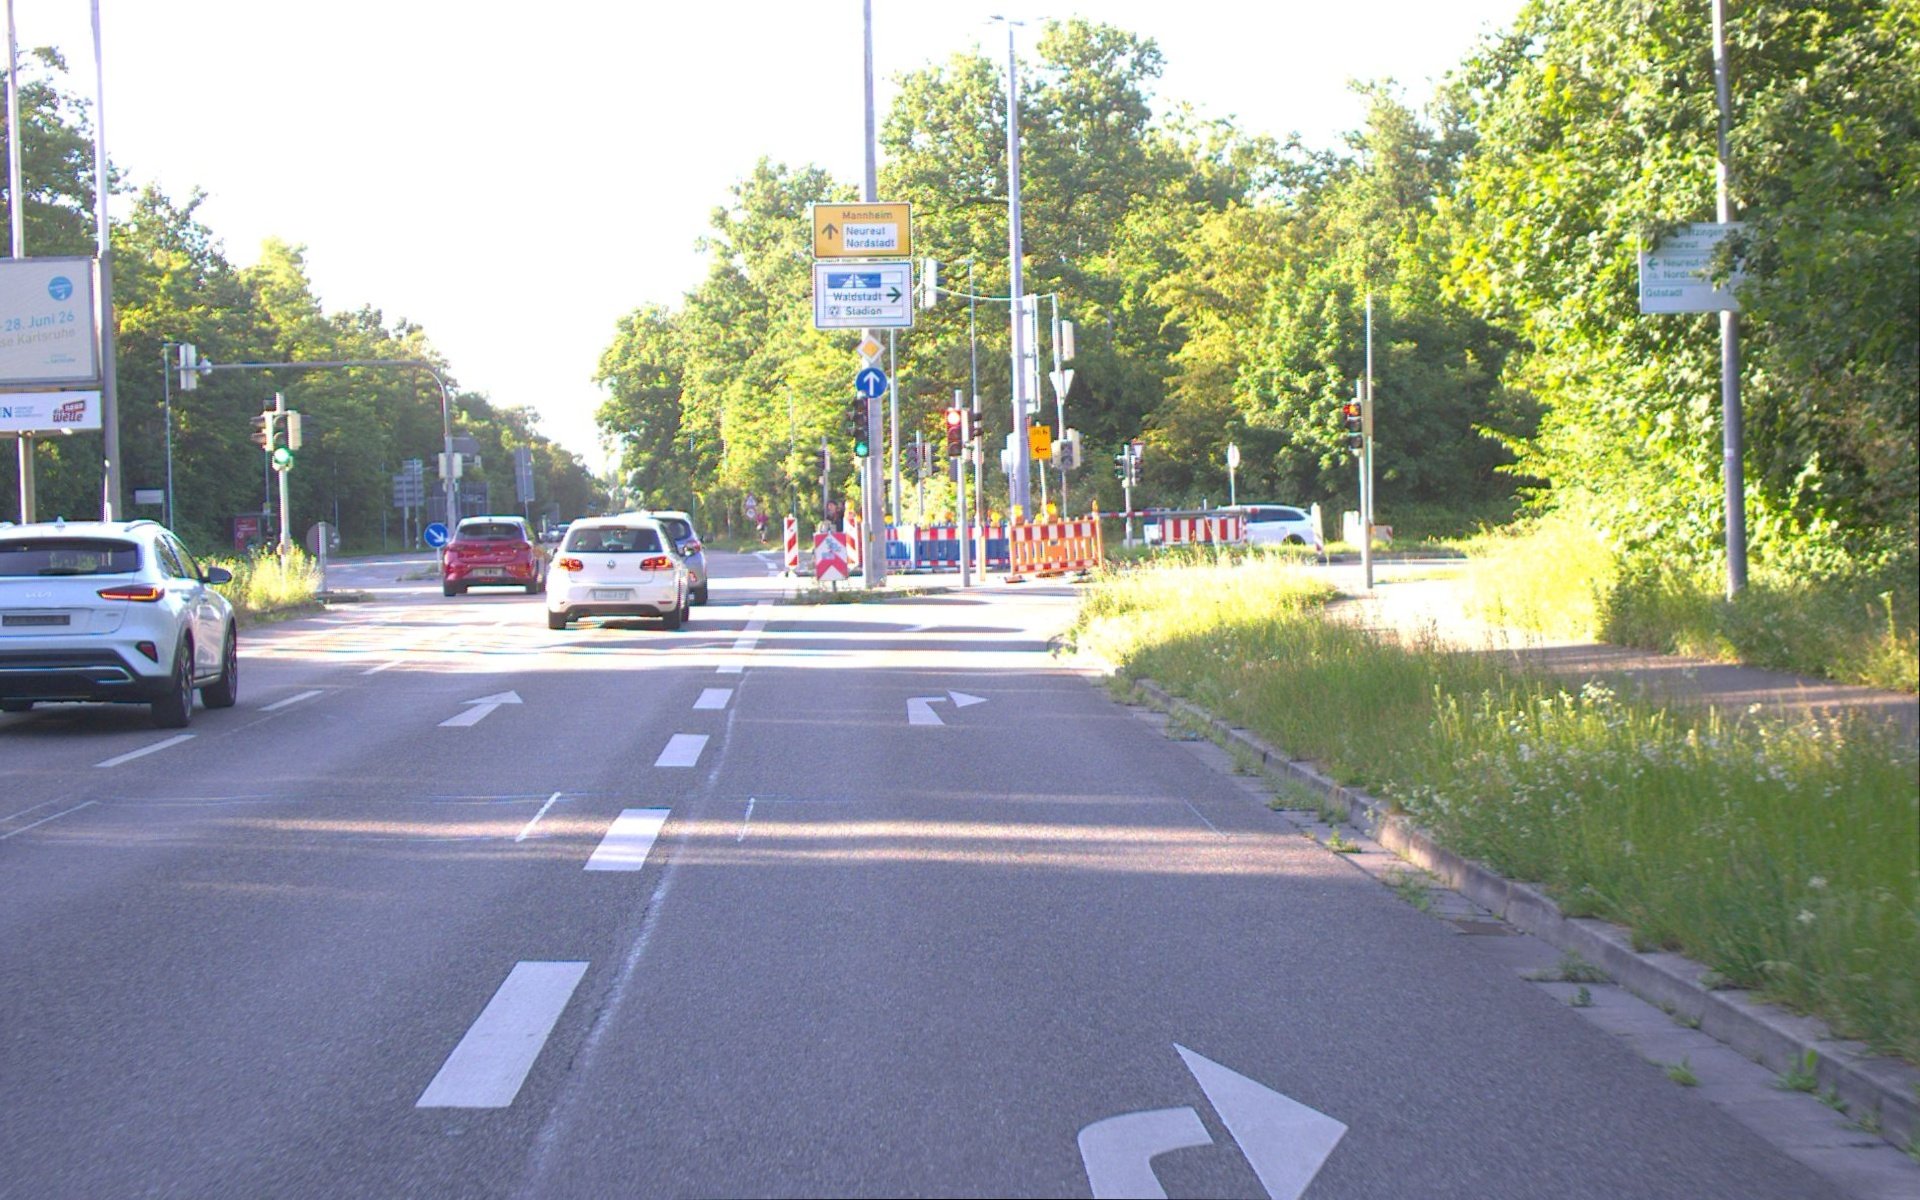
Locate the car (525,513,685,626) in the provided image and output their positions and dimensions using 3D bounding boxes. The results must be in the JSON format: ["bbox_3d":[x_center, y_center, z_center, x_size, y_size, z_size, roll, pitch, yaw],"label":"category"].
[{"bbox_3d":[-4.751,-0.444,46.502,1.940,1.409,4.001,-2,1,-3],"label":"car"}]

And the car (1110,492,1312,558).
[{"bbox_3d":[6.524,-1.946,89.295,4.817,1.575,2.000,-2,2,-24],"label":"car"}]

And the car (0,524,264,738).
[{"bbox_3d":[-6.428,0.172,25.507,1.863,1.439,4.001,-1,1,-3],"label":"car"}]

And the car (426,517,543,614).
[{"bbox_3d":[-8.758,-0.670,63.578,1.993,1.679,4.001,-2,1,-7],"label":"car"}]

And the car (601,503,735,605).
[{"bbox_3d":[-4.791,-0.770,55.983,1.993,1.531,4.001,-2,1,-7],"label":"car"}]
